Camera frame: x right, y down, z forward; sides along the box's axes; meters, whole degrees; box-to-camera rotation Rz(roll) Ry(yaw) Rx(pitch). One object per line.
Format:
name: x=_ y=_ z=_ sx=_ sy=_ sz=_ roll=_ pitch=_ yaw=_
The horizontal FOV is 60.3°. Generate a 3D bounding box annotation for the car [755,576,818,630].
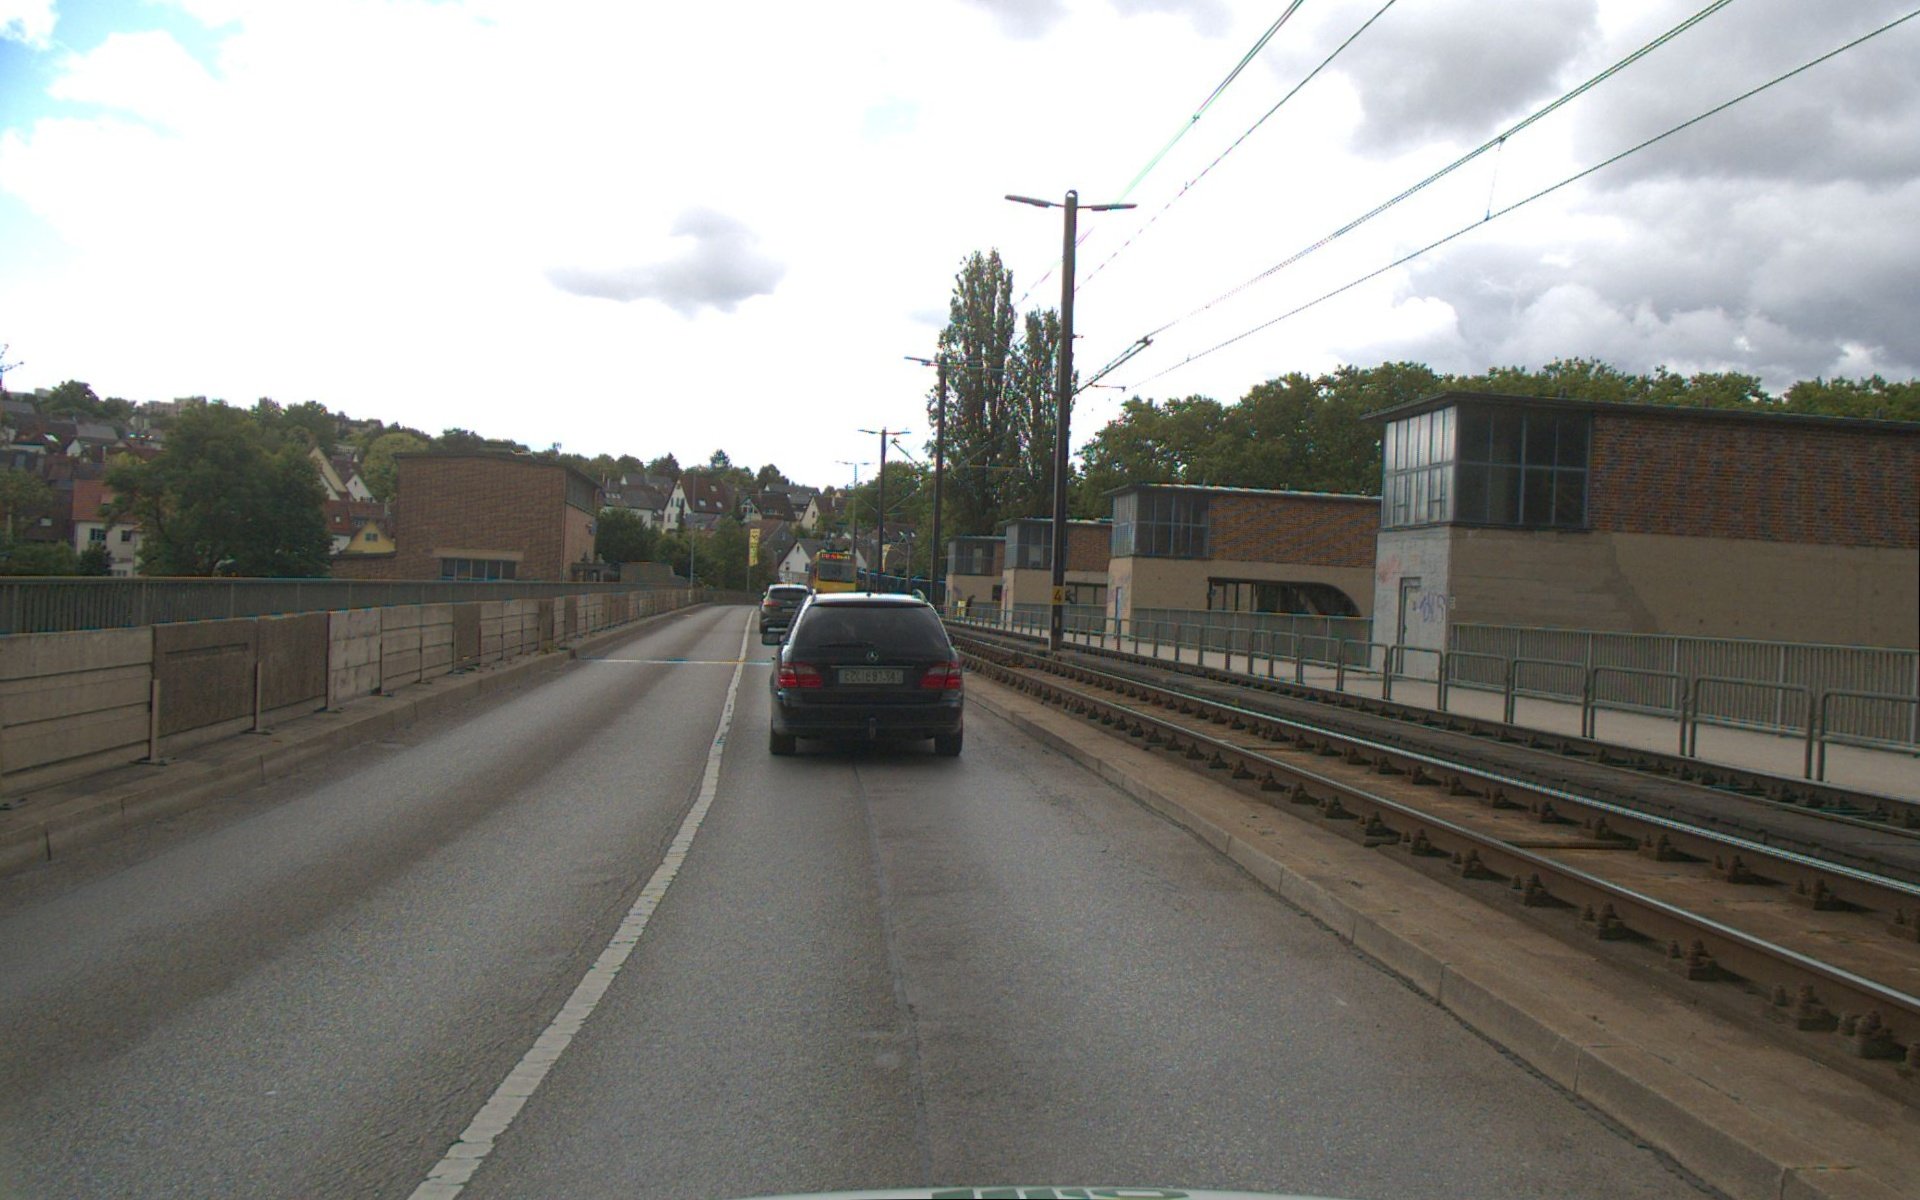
car: x=-5.552 y=0.060 z=52.572 sx=1.738 sy=1.582 sz=4.232 roll=2 pitch=1 yaw=-9

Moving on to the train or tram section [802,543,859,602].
train or tram section: x=-8.713 y=-1.784 z=109.191 sx=2.828 sy=3.570 sz=18.636 roll=0 pitch=1 yaw=-7

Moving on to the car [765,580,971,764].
car: x=-0.984 y=0.590 z=16.275 sx=1.725 sy=1.542 sz=4.437 roll=1 pitch=1 yaw=-5

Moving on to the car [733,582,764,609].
car: x=-14.317 y=-0.307 z=111.722 sx=1.956 sy=1.598 sz=4.898 roll=3 pitch=1 yaw=-8

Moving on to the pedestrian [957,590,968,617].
pedestrian: x=0.148 y=0.227 z=103.098 sx=0.566 sy=1.638 sz=0.612 roll=2 pitch=0 yaw=-6
